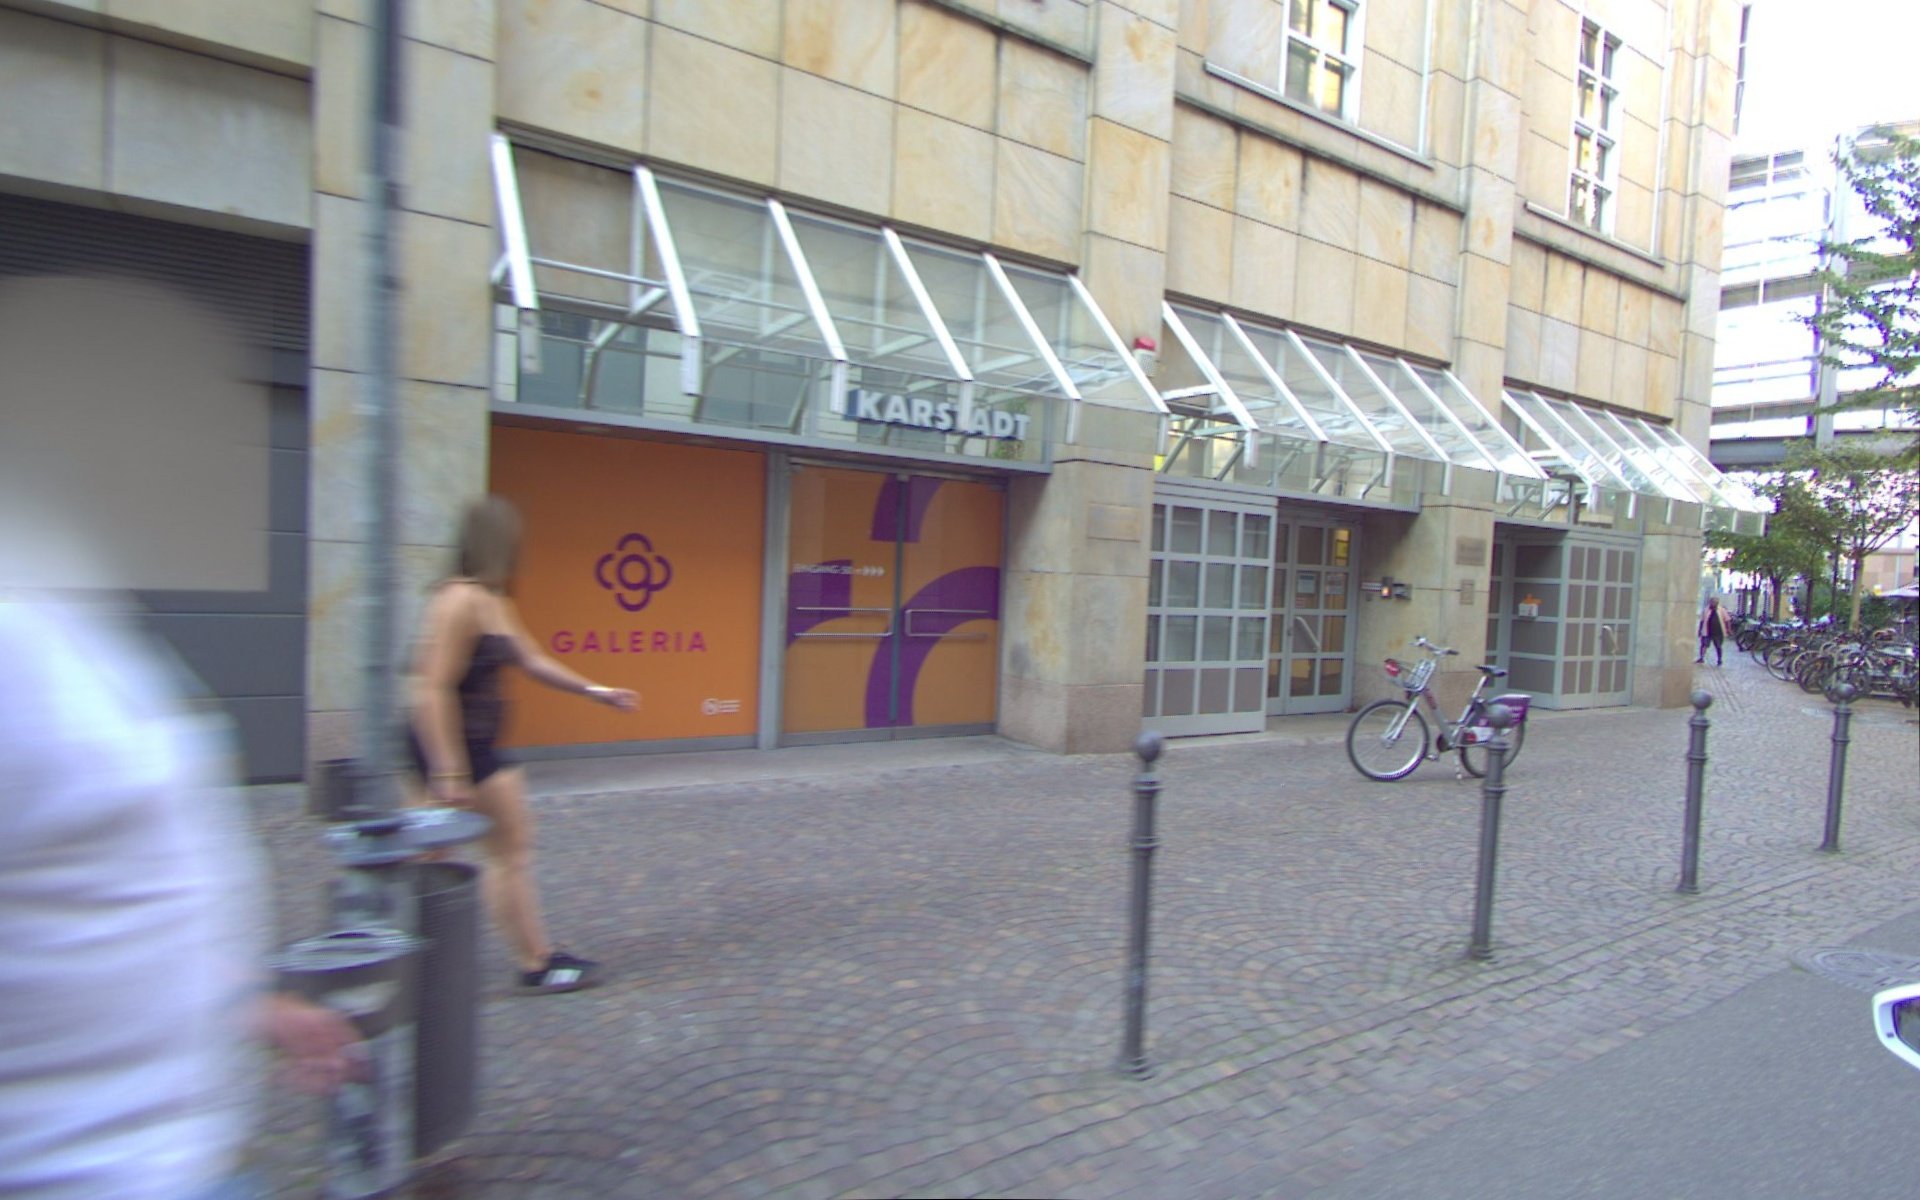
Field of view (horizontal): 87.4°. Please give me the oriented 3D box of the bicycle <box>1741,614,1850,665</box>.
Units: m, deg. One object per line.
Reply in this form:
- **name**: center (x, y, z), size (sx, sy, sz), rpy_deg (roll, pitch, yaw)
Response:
- **bicycle**: center (19.235, 0.893, 23.171), size (1.851, 1.057, 0.532), rpy_deg (2, 1, 34)

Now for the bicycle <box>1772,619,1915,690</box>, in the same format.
- **bicycle**: center (15.681, 0.949, 17.894), size (1.811, 1.137, 0.532), rpy_deg (2, 1, 34)

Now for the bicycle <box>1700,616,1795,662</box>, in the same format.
- **bicycle**: center (19.860, 0.967, 25.371), size (1.799, 1.057, 0.532), rpy_deg (2, 1, 34)

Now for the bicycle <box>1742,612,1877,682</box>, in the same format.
- **bicycle**: center (16.054, 0.863, 19.040), size (1.846, 1.193, 0.532), rpy_deg (2, 1, 34)

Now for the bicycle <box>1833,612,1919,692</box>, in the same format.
- **bicycle**: center (15.540, 0.863, 16.556), size (1.631, 1.247, 0.532), rpy_deg (2, 1, 34)

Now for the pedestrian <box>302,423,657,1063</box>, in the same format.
- **pedestrian**: center (-1.658, 0.406, 3.445), size (0.962, 1.819, 0.780), rpy_deg (1, 2, -35)

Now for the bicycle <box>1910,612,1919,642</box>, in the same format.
- **bicycle**: center (36.618, 1.040, 37.390), size (1.751, 1.129, 0.540), rpy_deg (3, 2, 39)

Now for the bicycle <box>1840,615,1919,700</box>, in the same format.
- **bicycle**: center (14.707, 0.889, 15.383), size (1.742, 1.247, 0.532), rpy_deg (2, 1, 34)

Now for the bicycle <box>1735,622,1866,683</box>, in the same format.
- **bicycle**: center (16.325, 1.002, 19.576), size (1.868, 1.066, 0.532), rpy_deg (2, 1, 34)

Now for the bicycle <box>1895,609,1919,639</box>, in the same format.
- **bicycle**: center (40.067, 1.011, 41.656), size (1.750, 1.206, 0.584), rpy_deg (3, 2, 36)

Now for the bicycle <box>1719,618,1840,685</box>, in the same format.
- **bicycle**: center (16.584, 1.024, 20.390), size (1.808, 1.241, 0.532), rpy_deg (2, 1, 34)

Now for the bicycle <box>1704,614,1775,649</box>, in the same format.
- **bicycle**: center (25.248, 1.000, 32.552), size (1.755, 1.033, 0.480), rpy_deg (2, 1, 34)

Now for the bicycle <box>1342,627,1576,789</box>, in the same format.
- **bicycle**: center (3.900, 0.819, 7.851), size (1.737, 1.153, 0.521), rpy_deg (2, 1, -18)

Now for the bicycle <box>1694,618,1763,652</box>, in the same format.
- **bicycle**: center (25.603, 1.160, 33.509), size (1.755, 1.033, 0.480), rpy_deg (2, 1, 34)

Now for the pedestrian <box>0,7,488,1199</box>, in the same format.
- **pedestrian**: center (-1.027, 0.472, 1.004), size (0.869, 1.847, 0.737), rpy_deg (1, 2, -35)
